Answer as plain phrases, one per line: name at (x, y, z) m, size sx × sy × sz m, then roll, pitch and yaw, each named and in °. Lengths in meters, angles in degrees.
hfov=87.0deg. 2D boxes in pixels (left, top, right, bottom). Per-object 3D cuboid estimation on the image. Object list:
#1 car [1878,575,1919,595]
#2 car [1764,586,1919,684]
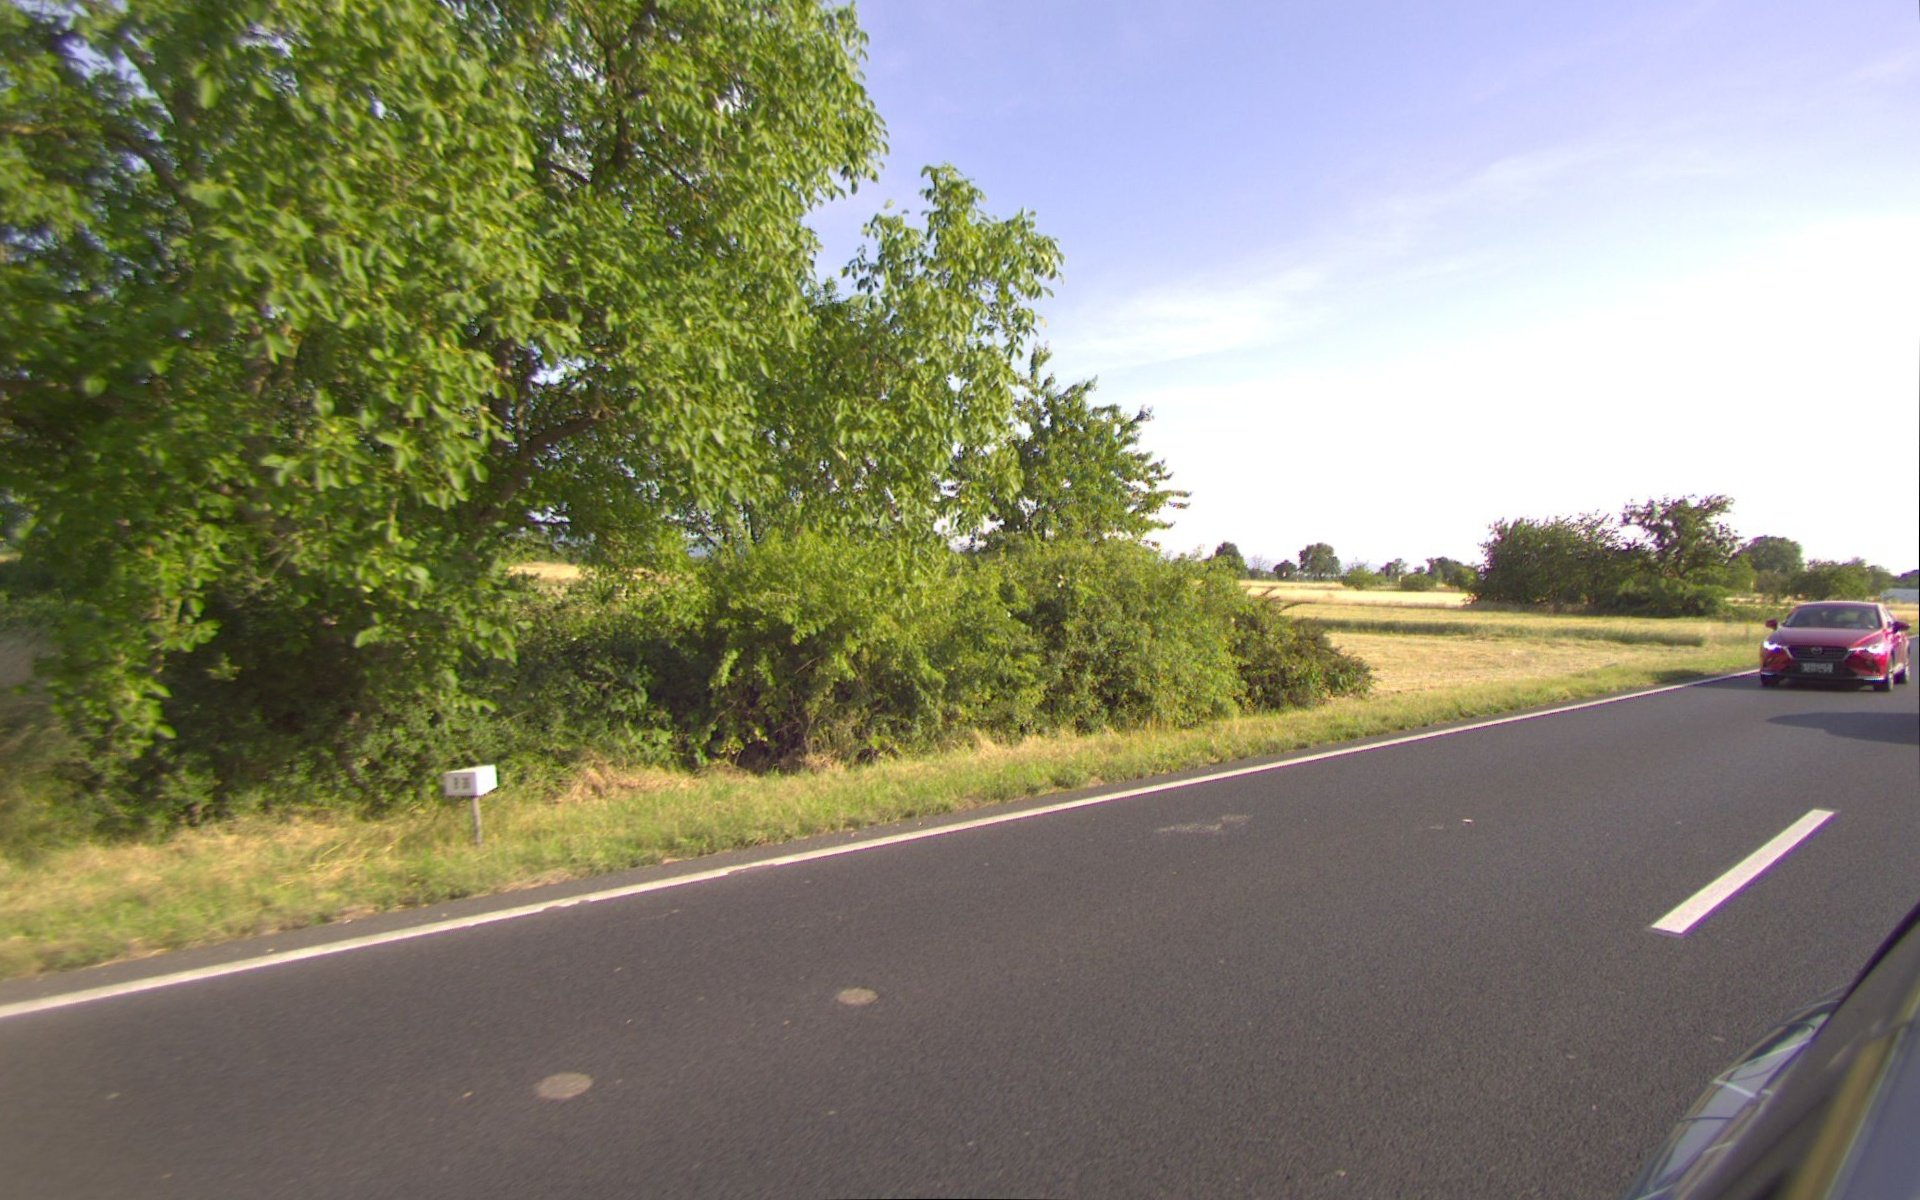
car at (137.493, -2.165, 145.916) m, size 2.049 × 2.702 × 7.229 m, roll -1°, pitch 2°, yaw -27°
car at (16.037, 0.538, 18.218) m, size 4.423 × 1.524 × 1.707 m, roll -1°, pitch 1°, yaw -42°
